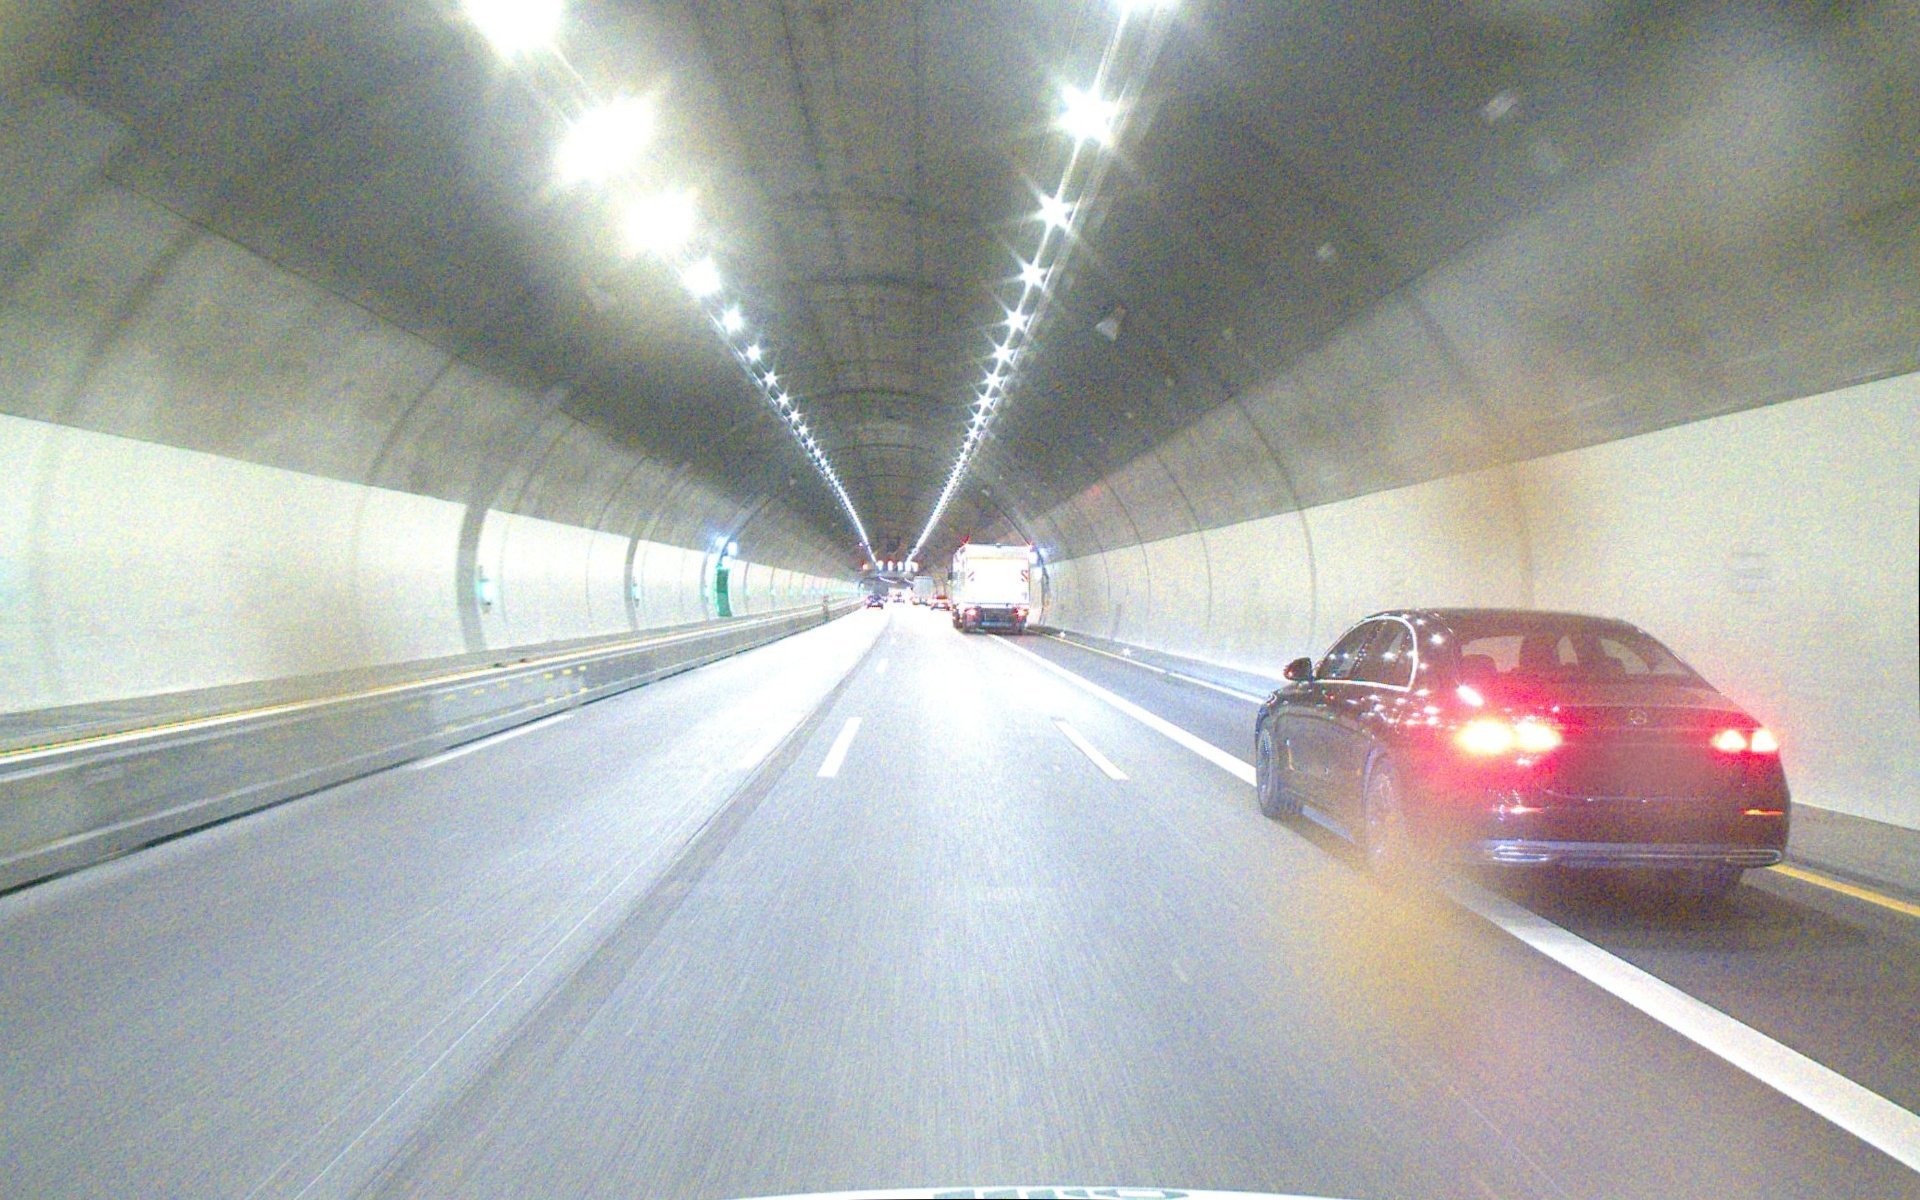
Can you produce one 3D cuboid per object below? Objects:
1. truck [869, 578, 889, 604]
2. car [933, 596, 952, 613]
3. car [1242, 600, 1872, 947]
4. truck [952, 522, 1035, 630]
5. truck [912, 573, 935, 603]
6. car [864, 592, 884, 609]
[{"bbox_3d":[-12.933,-1.365,263.269,3.005,3.986,10.362,1,0,-3],"label":"truck"},{"bbox_3d":[-1.641,0.381,155.872,1.704,1.486,3.960,1,1,-1],"label":"car"},{"bbox_3d":[3.090,0.778,9.851,1.886,1.498,4.953,1,0,-1],"label":"car"},{"bbox_3d":[1.255,-0.874,67.833,3.029,3.986,10.366,1,0,0],"label":"truck"},{"bbox_3d":[-5.203,-1.664,237.138,3.004,3.986,10.365,1,0,-1],"label":"truck"},{"bbox_3d":[-7.990,0.001,154.069,1.723,1.486,4.117,1,1,-2],"label":"car"}]
